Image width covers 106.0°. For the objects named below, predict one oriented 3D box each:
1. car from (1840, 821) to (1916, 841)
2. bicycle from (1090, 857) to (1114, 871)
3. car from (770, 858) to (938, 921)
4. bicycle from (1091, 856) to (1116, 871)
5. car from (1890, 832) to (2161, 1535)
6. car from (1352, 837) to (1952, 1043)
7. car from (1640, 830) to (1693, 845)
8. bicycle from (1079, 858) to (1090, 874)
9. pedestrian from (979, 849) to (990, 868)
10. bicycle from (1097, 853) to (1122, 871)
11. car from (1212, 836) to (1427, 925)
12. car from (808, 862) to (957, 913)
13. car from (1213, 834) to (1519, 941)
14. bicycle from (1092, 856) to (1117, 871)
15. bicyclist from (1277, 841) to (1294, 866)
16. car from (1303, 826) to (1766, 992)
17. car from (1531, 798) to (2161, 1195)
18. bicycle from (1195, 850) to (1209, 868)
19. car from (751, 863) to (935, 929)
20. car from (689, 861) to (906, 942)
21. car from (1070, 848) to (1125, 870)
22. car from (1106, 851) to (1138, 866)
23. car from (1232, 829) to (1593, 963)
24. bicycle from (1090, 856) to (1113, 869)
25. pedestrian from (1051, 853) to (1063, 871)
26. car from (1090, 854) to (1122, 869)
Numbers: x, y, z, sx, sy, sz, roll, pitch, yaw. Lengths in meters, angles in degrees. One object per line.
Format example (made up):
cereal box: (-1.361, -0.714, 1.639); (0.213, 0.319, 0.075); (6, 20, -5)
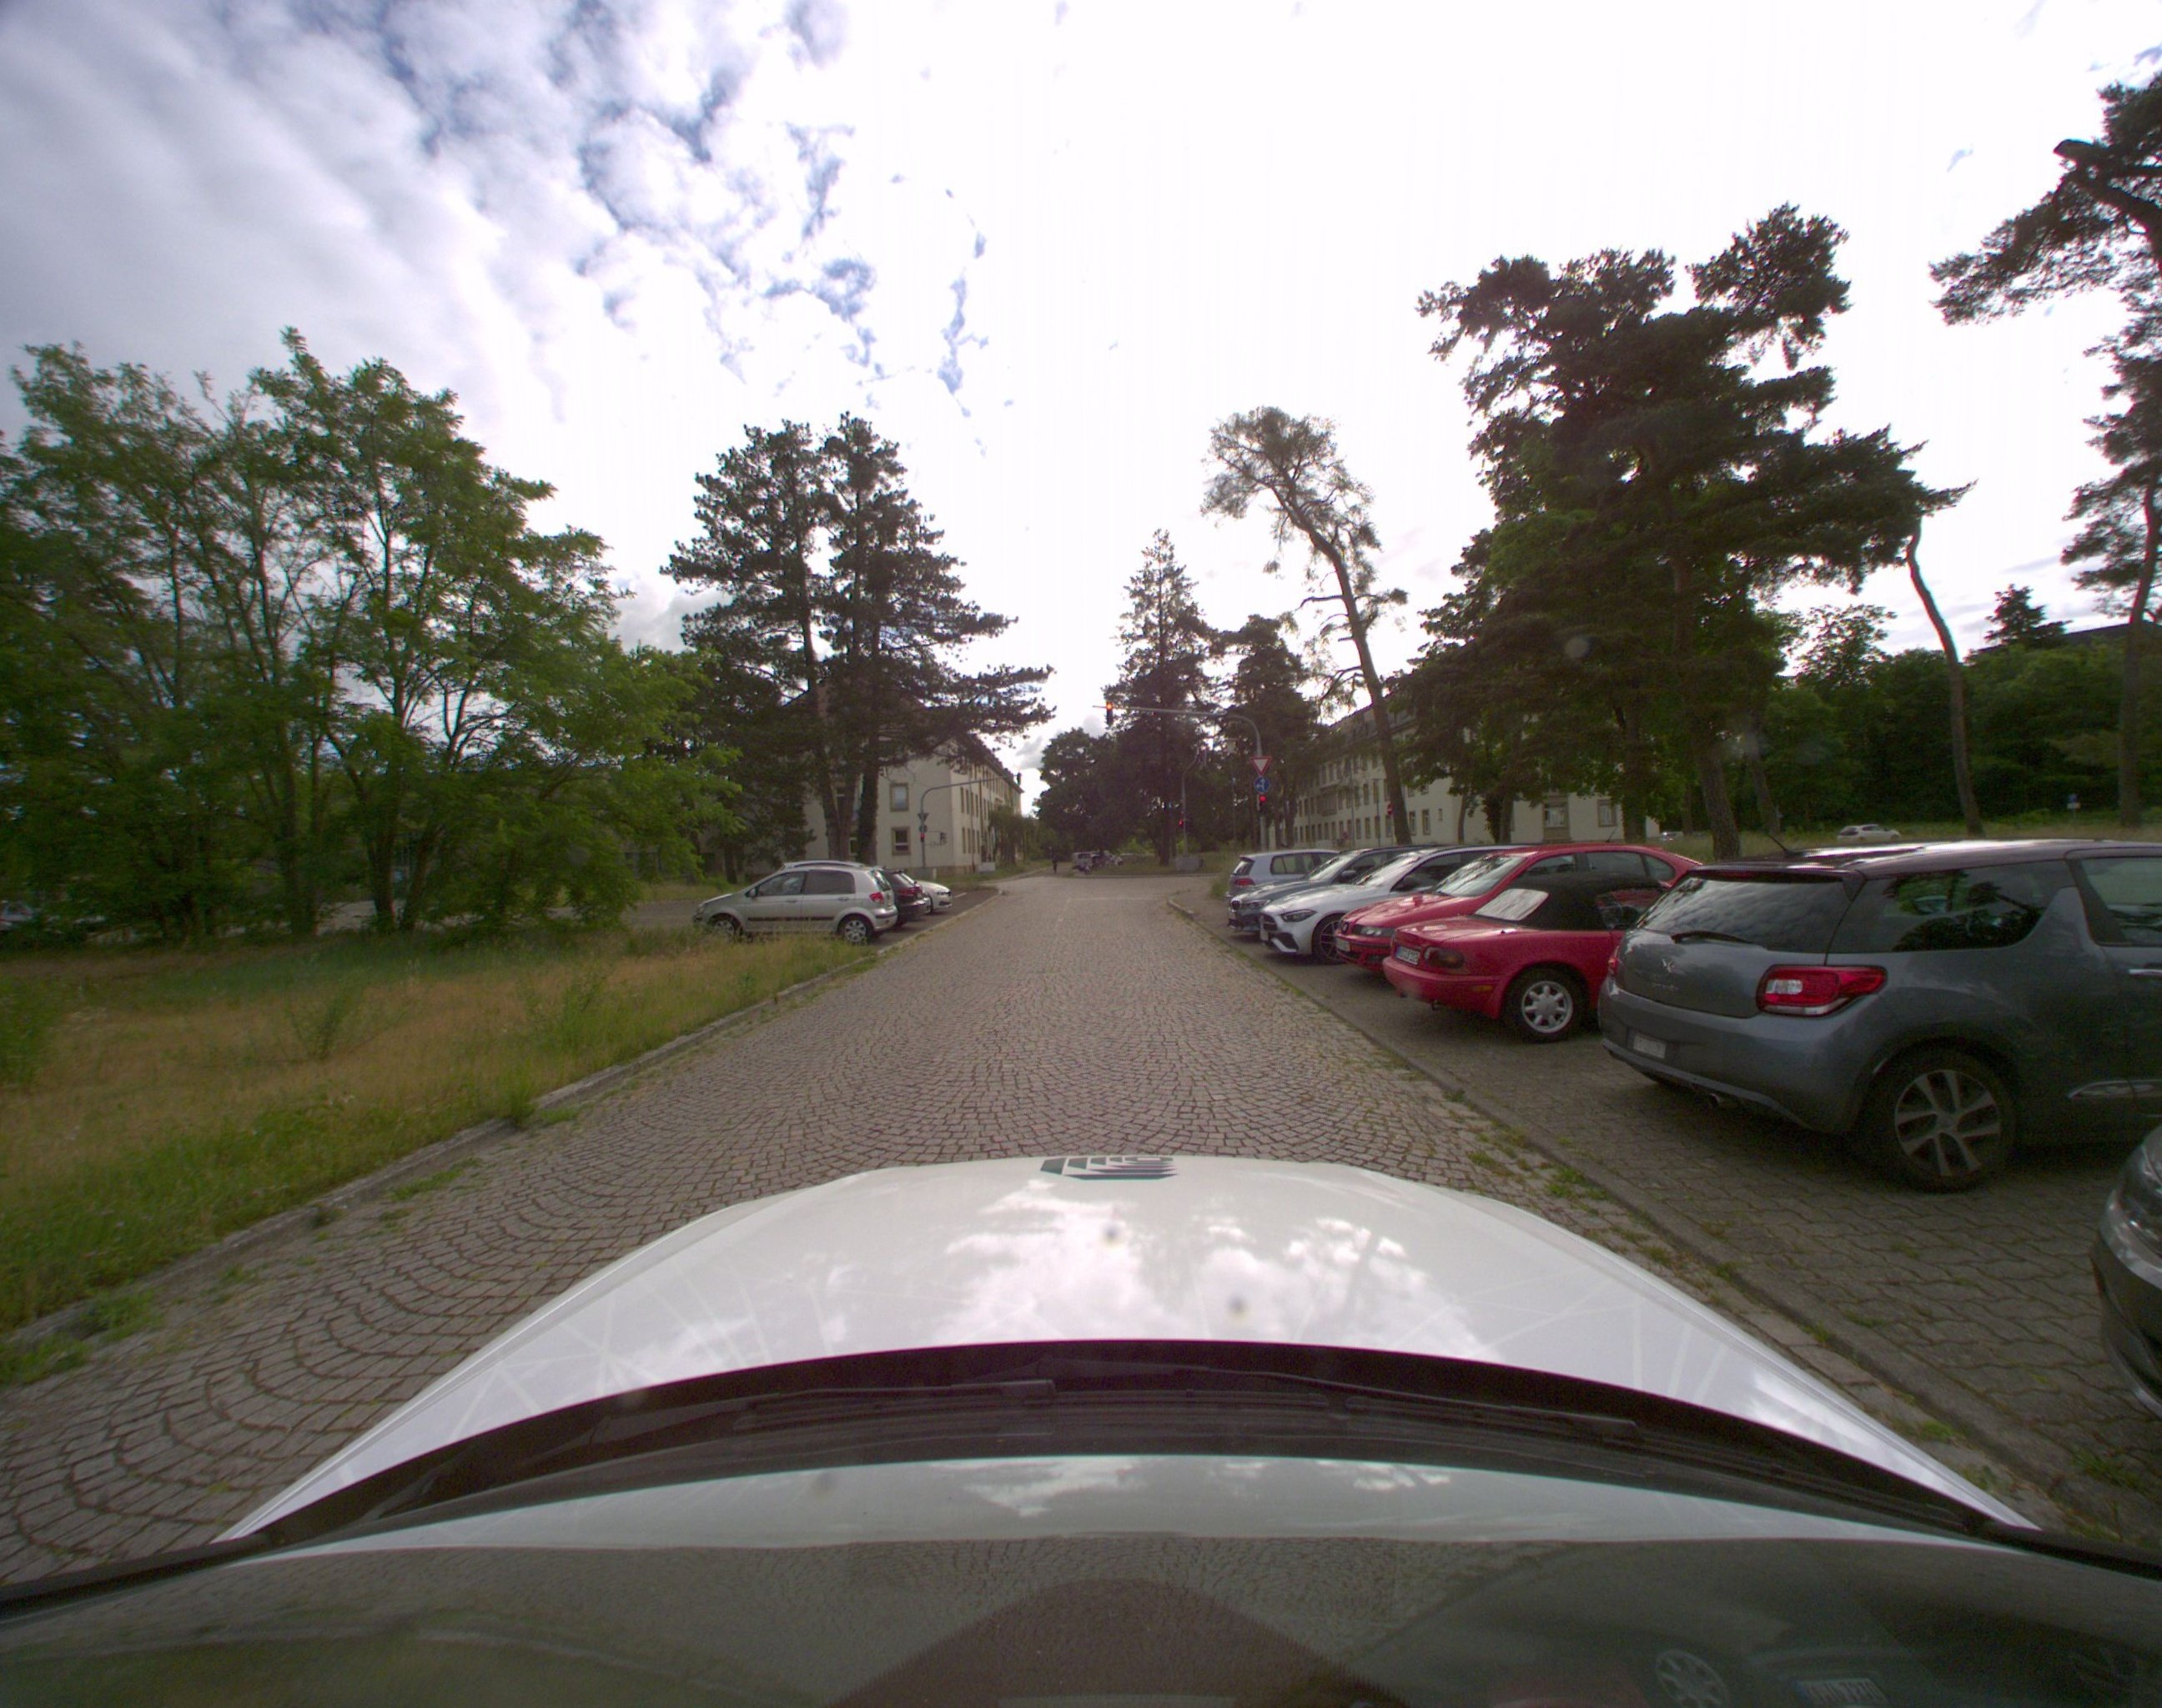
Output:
car: (58.069, -1.672, 59.376); (3.931, 1.421, 1.651); (0, 0, 3)
bicycle: (1.731, 0.800, 67.760); (1.967, 1.069, 0.582); (-2, 0, -30)
car: (-5.857, 0.896, 21.356); (3.938, 1.563, 1.648); (0, 0, -3)
bicycle: (1.823, 0.770, 66.277); (1.953, 1.117, 0.586); (-2, 0, -7)
car: (4.186, 0.590, 1.370); (3.850, 1.472, 1.758); (-4, 0, 0)
car: (4.545, 0.630, 6.920); (3.851, 1.236, 1.757); (-4, 0, -1)
car: (57.317, -1.605, 79.757); (3.931, 1.421, 1.651); (0, 0, 3)
bicycle: (0.254, 0.907, 62.443); (0.602, 1.132, 1.958); (-2, 0, -5)
pedestrian: (-9.644, 0.454, 81.351); (0.779, 1.837, 0.733); (-2, 0, -31)
bicycle: (2.366, 0.669, 67.110); (1.953, 1.384, 0.586); (-2, 0, -7)
car: (4.813, 0.519, 16.811); (3.912, 1.477, 1.643); (-4, 0, 1)
car: (-5.744, 0.956, 23.893); (3.935, 1.421, 1.650); (0, 0, -1)
car: (4.868, 0.541, 14.360); (4.669, 1.416, 1.869); (-4, 0, -2)
bicycle: (1.880, 0.744, 65.644); (1.953, 1.132, 0.586); (-2, 0, -7)
bicyclist: (11.747, -0.046, 46.789); (0.747, 1.410, 0.605); (-2, 0, 0)
car: (4.979, 0.563, 9.405); (4.248, 1.416, 1.871); (-4, 0, 0)
car: (4.808, 0.532, 4.293); (3.851, 1.472, 1.757); (-4, 0, -1)
bicycle: (7.939, 0.315, 53.553); (0.584, 1.106, 1.961); (-2, 0, 0)
car: (-5.320, 0.933, 18.573); (3.737, 1.428, 1.581); (0, 0, -3)
car: (-5.441, 0.890, 15.975); (3.694, 1.479, 1.581); (0, 0, -3)
car: (1.655, 0.508, 83.728); (5.359, 1.925, 2.019); (-4, 0, -9)
car: (4.417, 0.514, 87.616); (3.224, 1.416, 1.723); (-3, 0, -3)
car: (4.627, 0.528, 11.672); (4.421, 1.416, 1.865); (-4, 0, -9)
bicycle: (1.846, 0.791, 72.796); (1.964, 1.069, 0.583); (-2, 0, -25)
pedestrian: (-2.176, 0.746, 74.807); (0.743, 1.618, 0.768); (-2, 0, -32)
car: (2.457, 0.747, 80.359); (3.001, 1.268, 1.532); (-3, 0, -6)
